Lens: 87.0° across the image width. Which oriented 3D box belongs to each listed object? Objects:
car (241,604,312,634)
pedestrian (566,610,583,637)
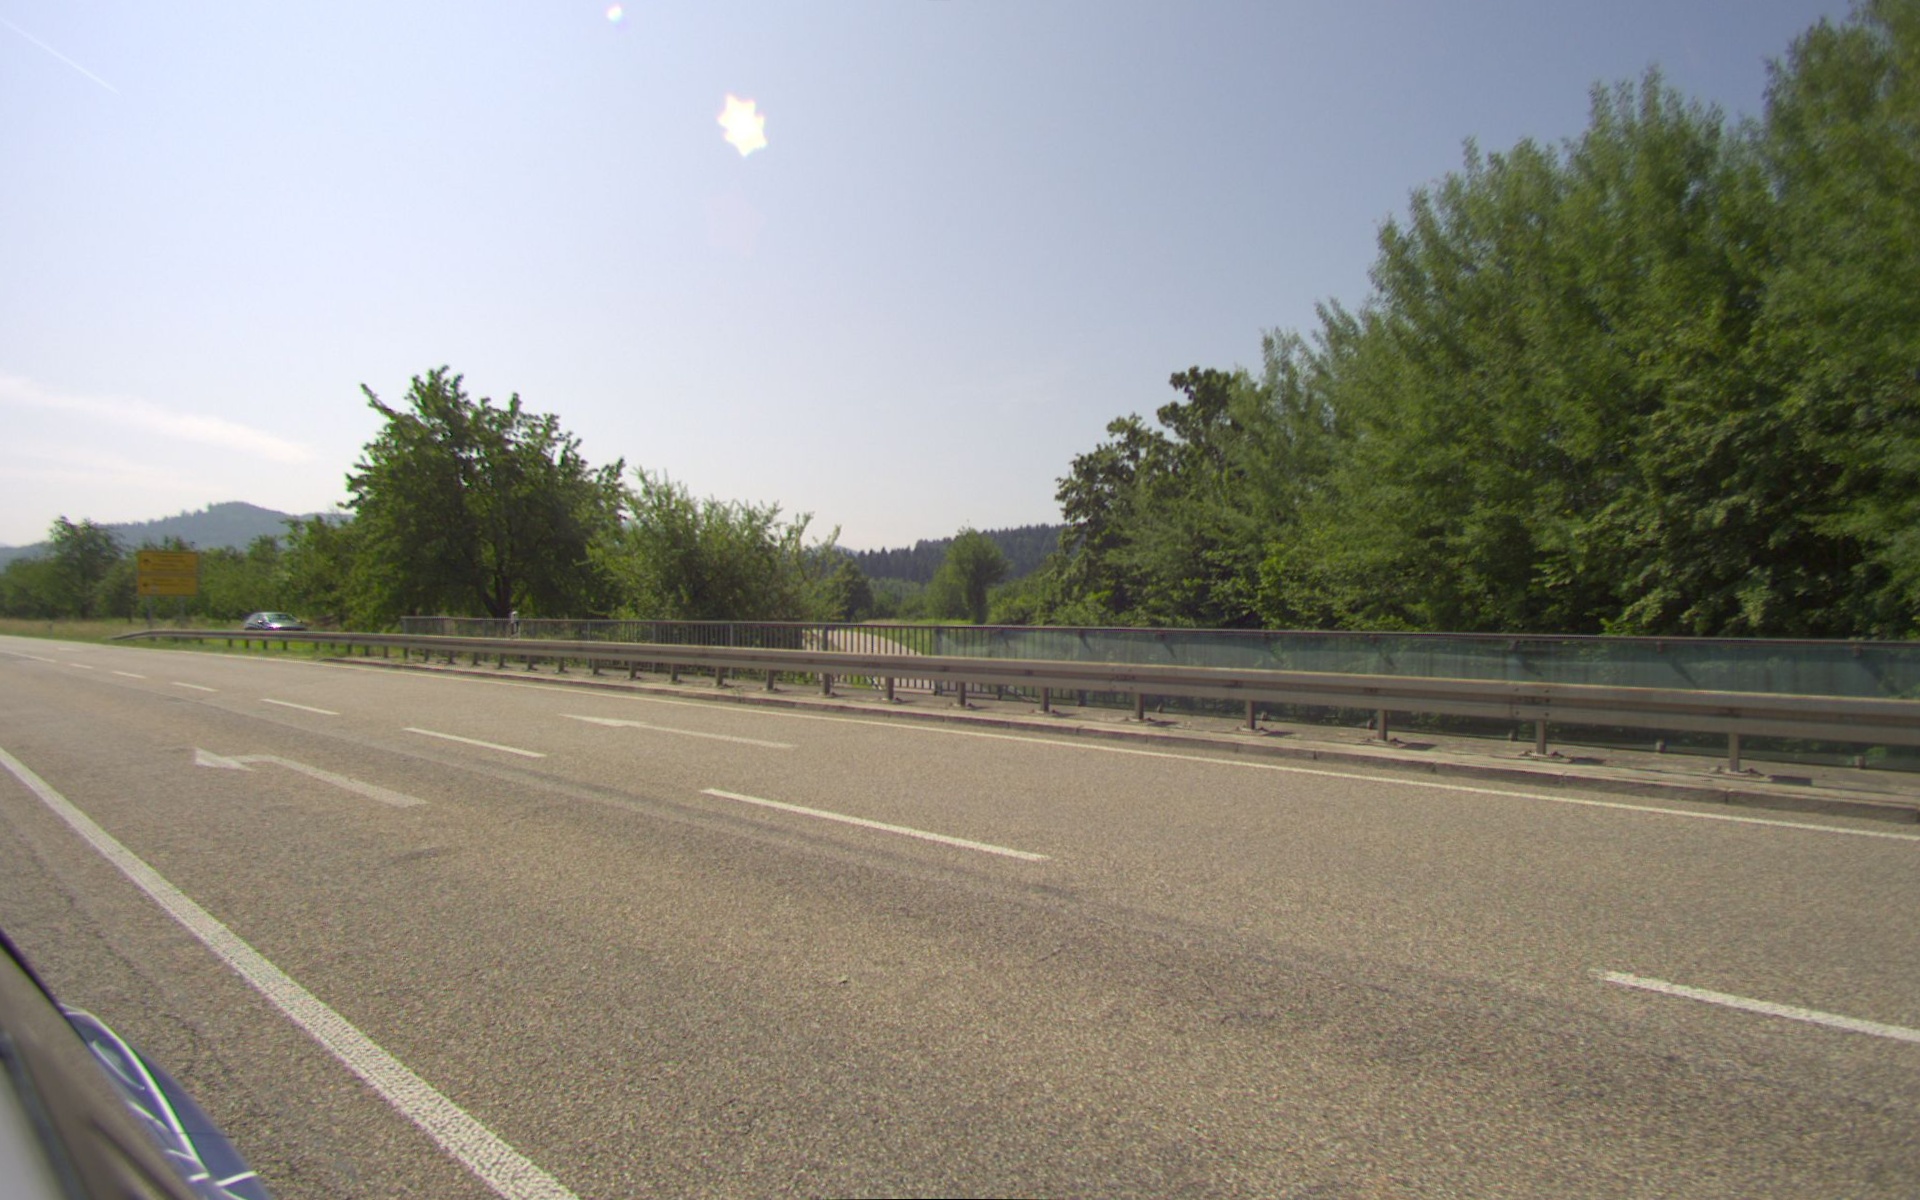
[{"bbox_3d":[-34.058,0.932,50.411,4.036,1.433,1.689,-1,-1,36],"label":"car"},{"bbox_3d":[-18.783,1.147,49.284,0.556,1.307,0.567,-1,0,43],"label":"pedestrian"}]
